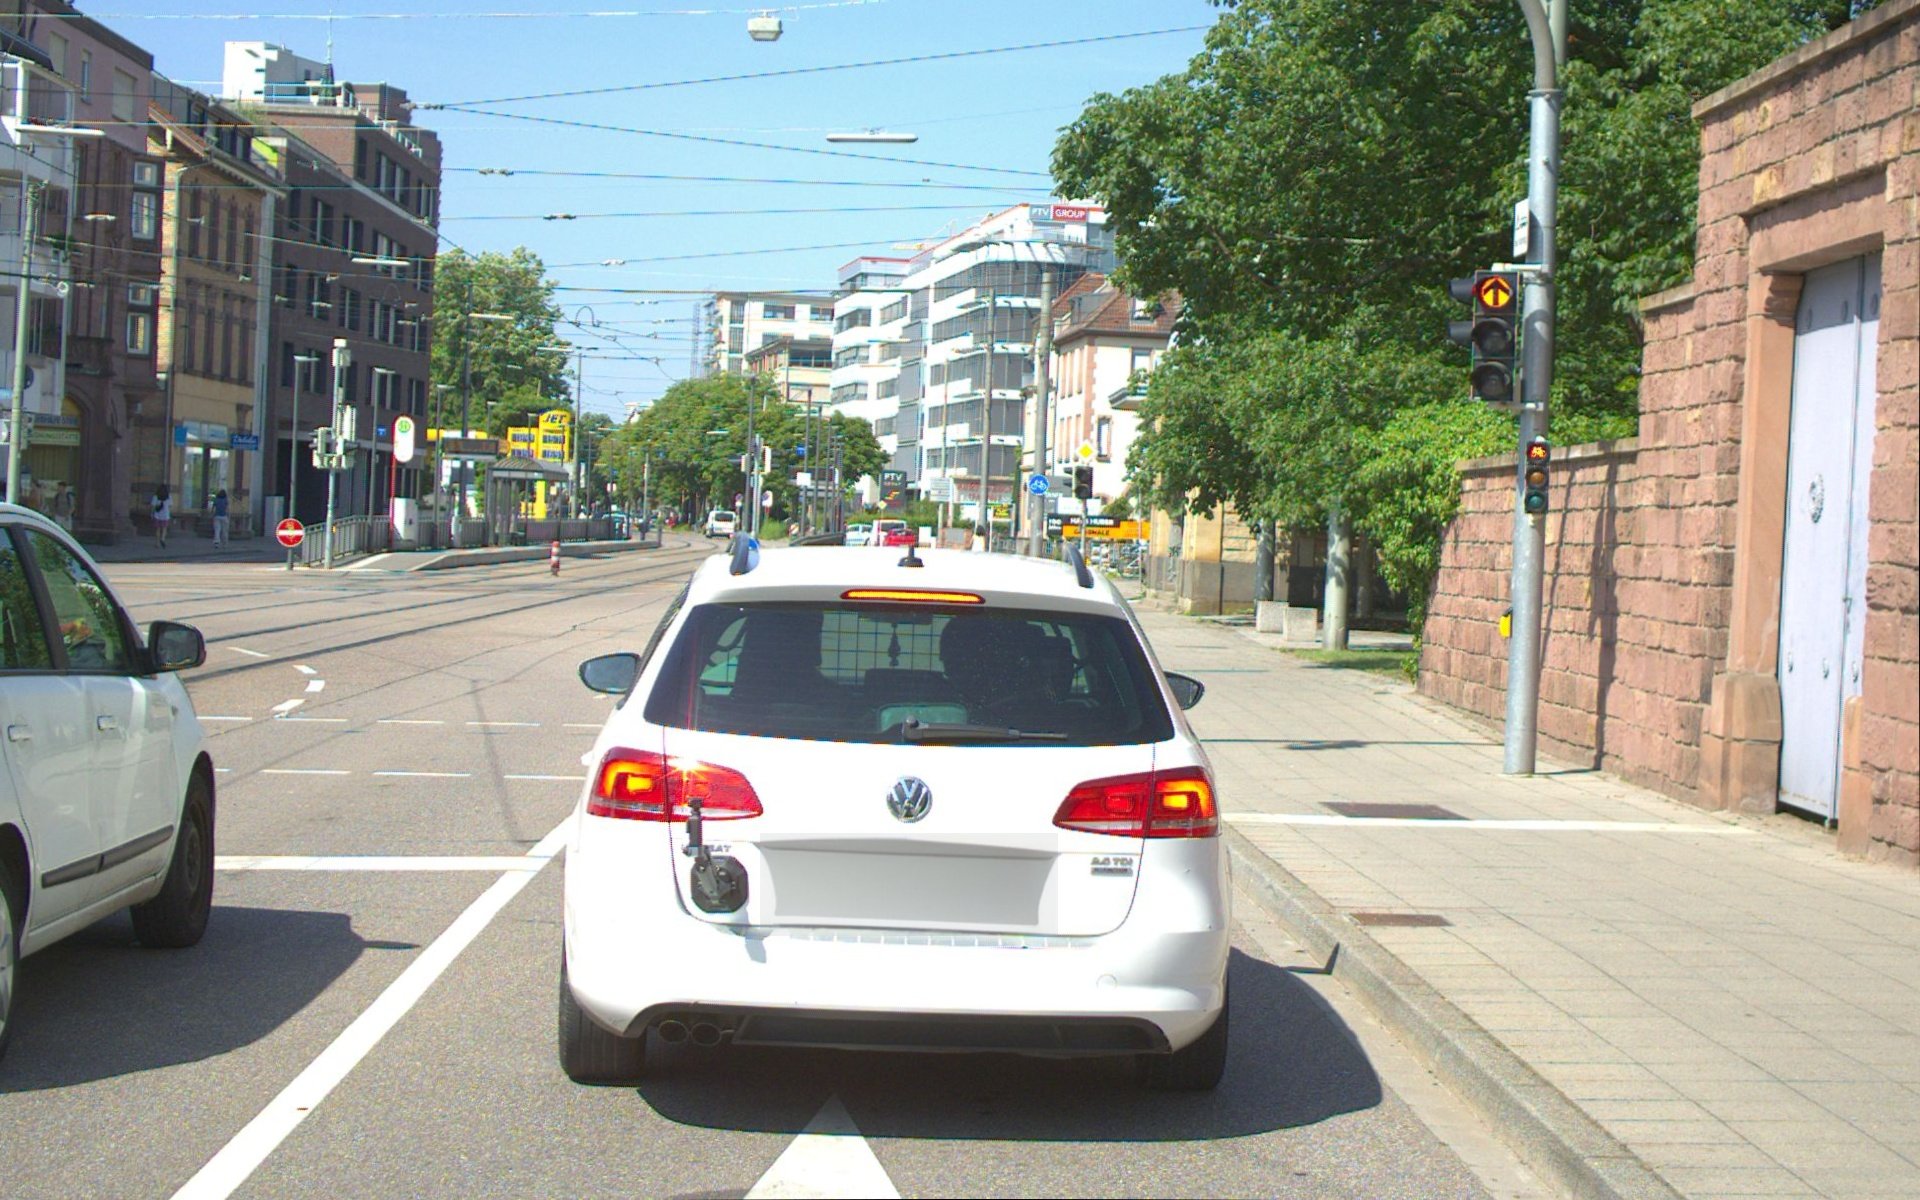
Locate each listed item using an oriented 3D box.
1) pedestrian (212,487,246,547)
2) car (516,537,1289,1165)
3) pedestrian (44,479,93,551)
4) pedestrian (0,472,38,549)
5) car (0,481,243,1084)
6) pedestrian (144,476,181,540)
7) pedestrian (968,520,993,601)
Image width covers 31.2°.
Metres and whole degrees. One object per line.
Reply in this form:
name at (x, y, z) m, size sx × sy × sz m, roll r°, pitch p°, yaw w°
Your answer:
pedestrian at (-21.474, -2.444, 100.961) m, size 0.861 × 1.737 × 0.975 m, roll 1°, pitch 0°, yaw -6°
car at (-0.162, 0.559, 10.131) m, size 1.808 × 1.443 × 4.000 m, roll 1°, pitch 1°, yaw -1°
pedestrian at (-21.795, -2.075, 84.070) m, size 0.862 × 1.737 × 0.975 m, roll 1°, pitch 0°, yaw 7°
pedestrian at (-21.765, -2.043, 78.692) m, size 0.972 × 1.737 × 0.864 m, roll 0°, pitch 0°, yaw -41°
car at (-3.344, 0.429, 10.270) m, size 1.642 × 1.561 × 3.804 m, roll 1°, pitch 2°, yaw -1°
pedestrian at (-22.017, -2.525, 94.946) m, size 0.861 × 1.737 × 0.975 m, roll 1°, pitch 0°, yaw -6°
pedestrian at (0.588, -1.149, 99.720) m, size 0.690 × 2.317 × 1.232 m, roll 1°, pitch 0°, yaw 1°
